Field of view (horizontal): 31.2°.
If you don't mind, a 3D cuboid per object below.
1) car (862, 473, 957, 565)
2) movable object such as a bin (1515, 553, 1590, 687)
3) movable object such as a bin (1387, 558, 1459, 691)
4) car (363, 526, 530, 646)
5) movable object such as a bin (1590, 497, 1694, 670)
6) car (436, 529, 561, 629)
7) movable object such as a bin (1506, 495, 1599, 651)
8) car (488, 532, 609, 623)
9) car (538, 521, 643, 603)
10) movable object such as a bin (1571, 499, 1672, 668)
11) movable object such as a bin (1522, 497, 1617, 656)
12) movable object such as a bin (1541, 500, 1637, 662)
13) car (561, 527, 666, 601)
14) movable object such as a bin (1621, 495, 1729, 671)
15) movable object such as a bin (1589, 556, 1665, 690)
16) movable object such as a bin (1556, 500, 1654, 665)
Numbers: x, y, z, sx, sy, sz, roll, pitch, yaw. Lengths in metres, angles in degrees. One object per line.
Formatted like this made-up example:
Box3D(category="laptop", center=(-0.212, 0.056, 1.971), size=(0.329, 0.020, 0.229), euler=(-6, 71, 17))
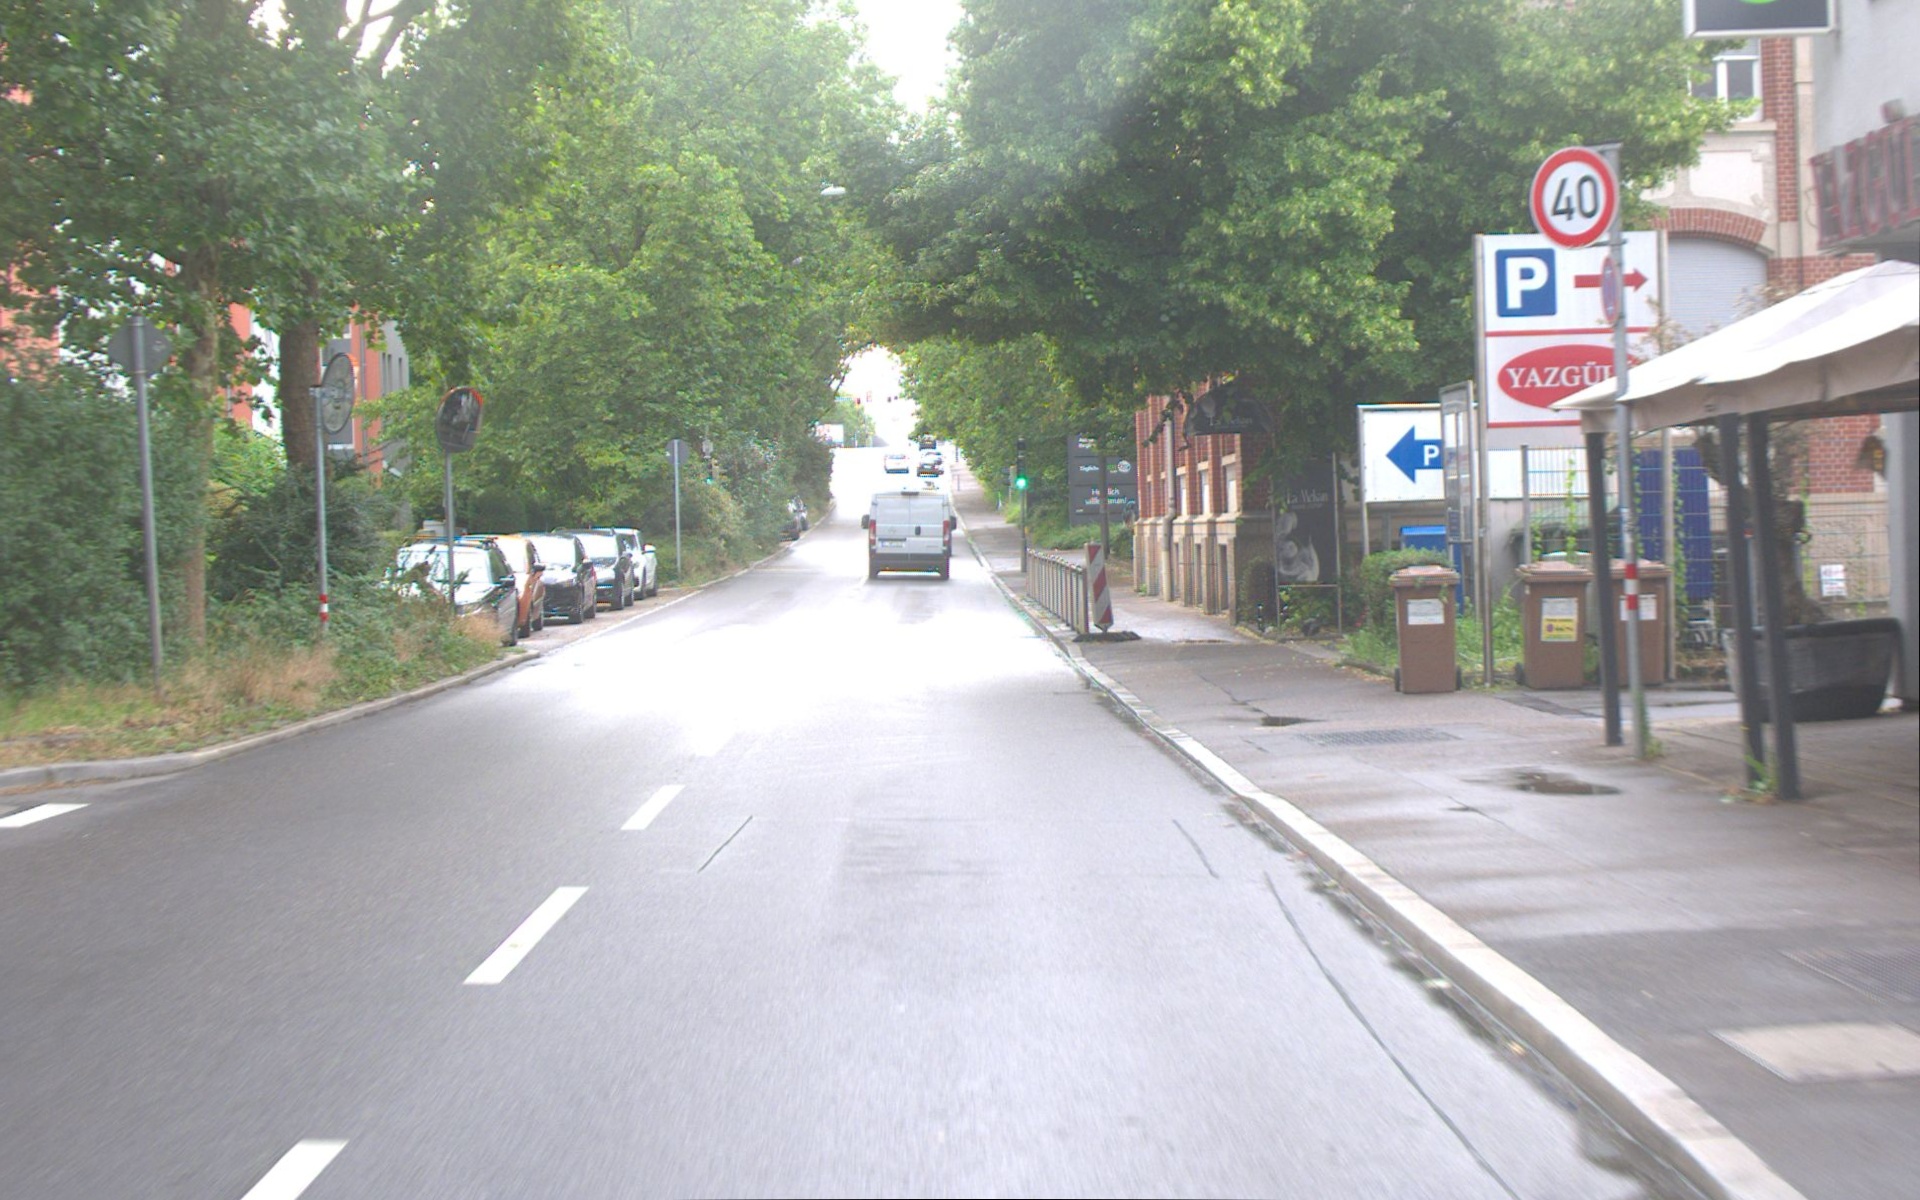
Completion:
Box3D(category="car", center=(-1.247, -2.025, 86.889), size=(2.336, 2.223, 4.000), euler=(1, 1, 0))
Box3D(category="movable object such as a bin", center=(5.023, 0.165, 29.154), size=(0.531, 1.111, 0.561), euler=(-1, 1, 2))
Box3D(category="movable object such as a bin", center=(3.941, 0.203, 29.288), size=(0.504, 1.111, 0.618), euler=(-1, 1, 0))
Box3D(category="car", center=(-6.859, -0.236, 46.320), size=(1.716, 1.504, 4.805), euler=(0, 1, -2))
Box3D(category="movable object such as a bin", center=(6.090, -0.154, 30.716), size=(0.737, 1.503, 0.625), euler=(-2, 1, -3))
Box3D(category="car", center=(-7.046, -0.344, 52.706), size=(1.555, 1.462, 3.397), euler=(0, 1, -2))
Box3D(category="movable object such as a bin", center=(5.847, -0.270, 33.935), size=(0.737, 1.496, 0.625), euler=(-2, 1, -3))
Box3D(category="car", center=(-6.909, -0.401, 58.006), size=(1.716, 1.462, 3.756), euler=(0, 1, -2))
Box3D(category="car", center=(-6.857, -0.731, 64.117), size=(1.716, 1.462, 4.234), euler=(0, 1, -3))
Box3D(category="movable object such as a bin", center=(6.029, -0.155, 31.354), size=(0.737, 1.503, 0.625), euler=(-1, 1, -3))
Box3D(category="movable object such as a bin", center=(5.897, -0.233, 33.309), size=(0.737, 1.503, 0.625), euler=(-2, 1, -3))
Box3D(category="movable object such as a bin", center=(5.975, -0.183, 32.662), size=(0.737, 1.503, 0.625), euler=(-1, 1, -4))
Box3D(category="car", center=(-7.120, -0.762, 70.978), size=(1.717, 1.462, 4.310), euler=(0, 1, 0))
Box3D(category="movable object such as a bin", center=(6.255, -0.153, 30.097), size=(0.737, 1.503, 0.625), euler=(-2, 1, -3))
Box3D(category="movable object such as a bin", center=(5.686, 0.189, 29.316), size=(0.504, 1.111, 0.618), euler=(-1, 1, 0))
Box3D(category="movable object such as a bin", center=(6.005, -0.169, 32.010), size=(0.737, 1.503, 0.625), euler=(-1, 1, -3))
